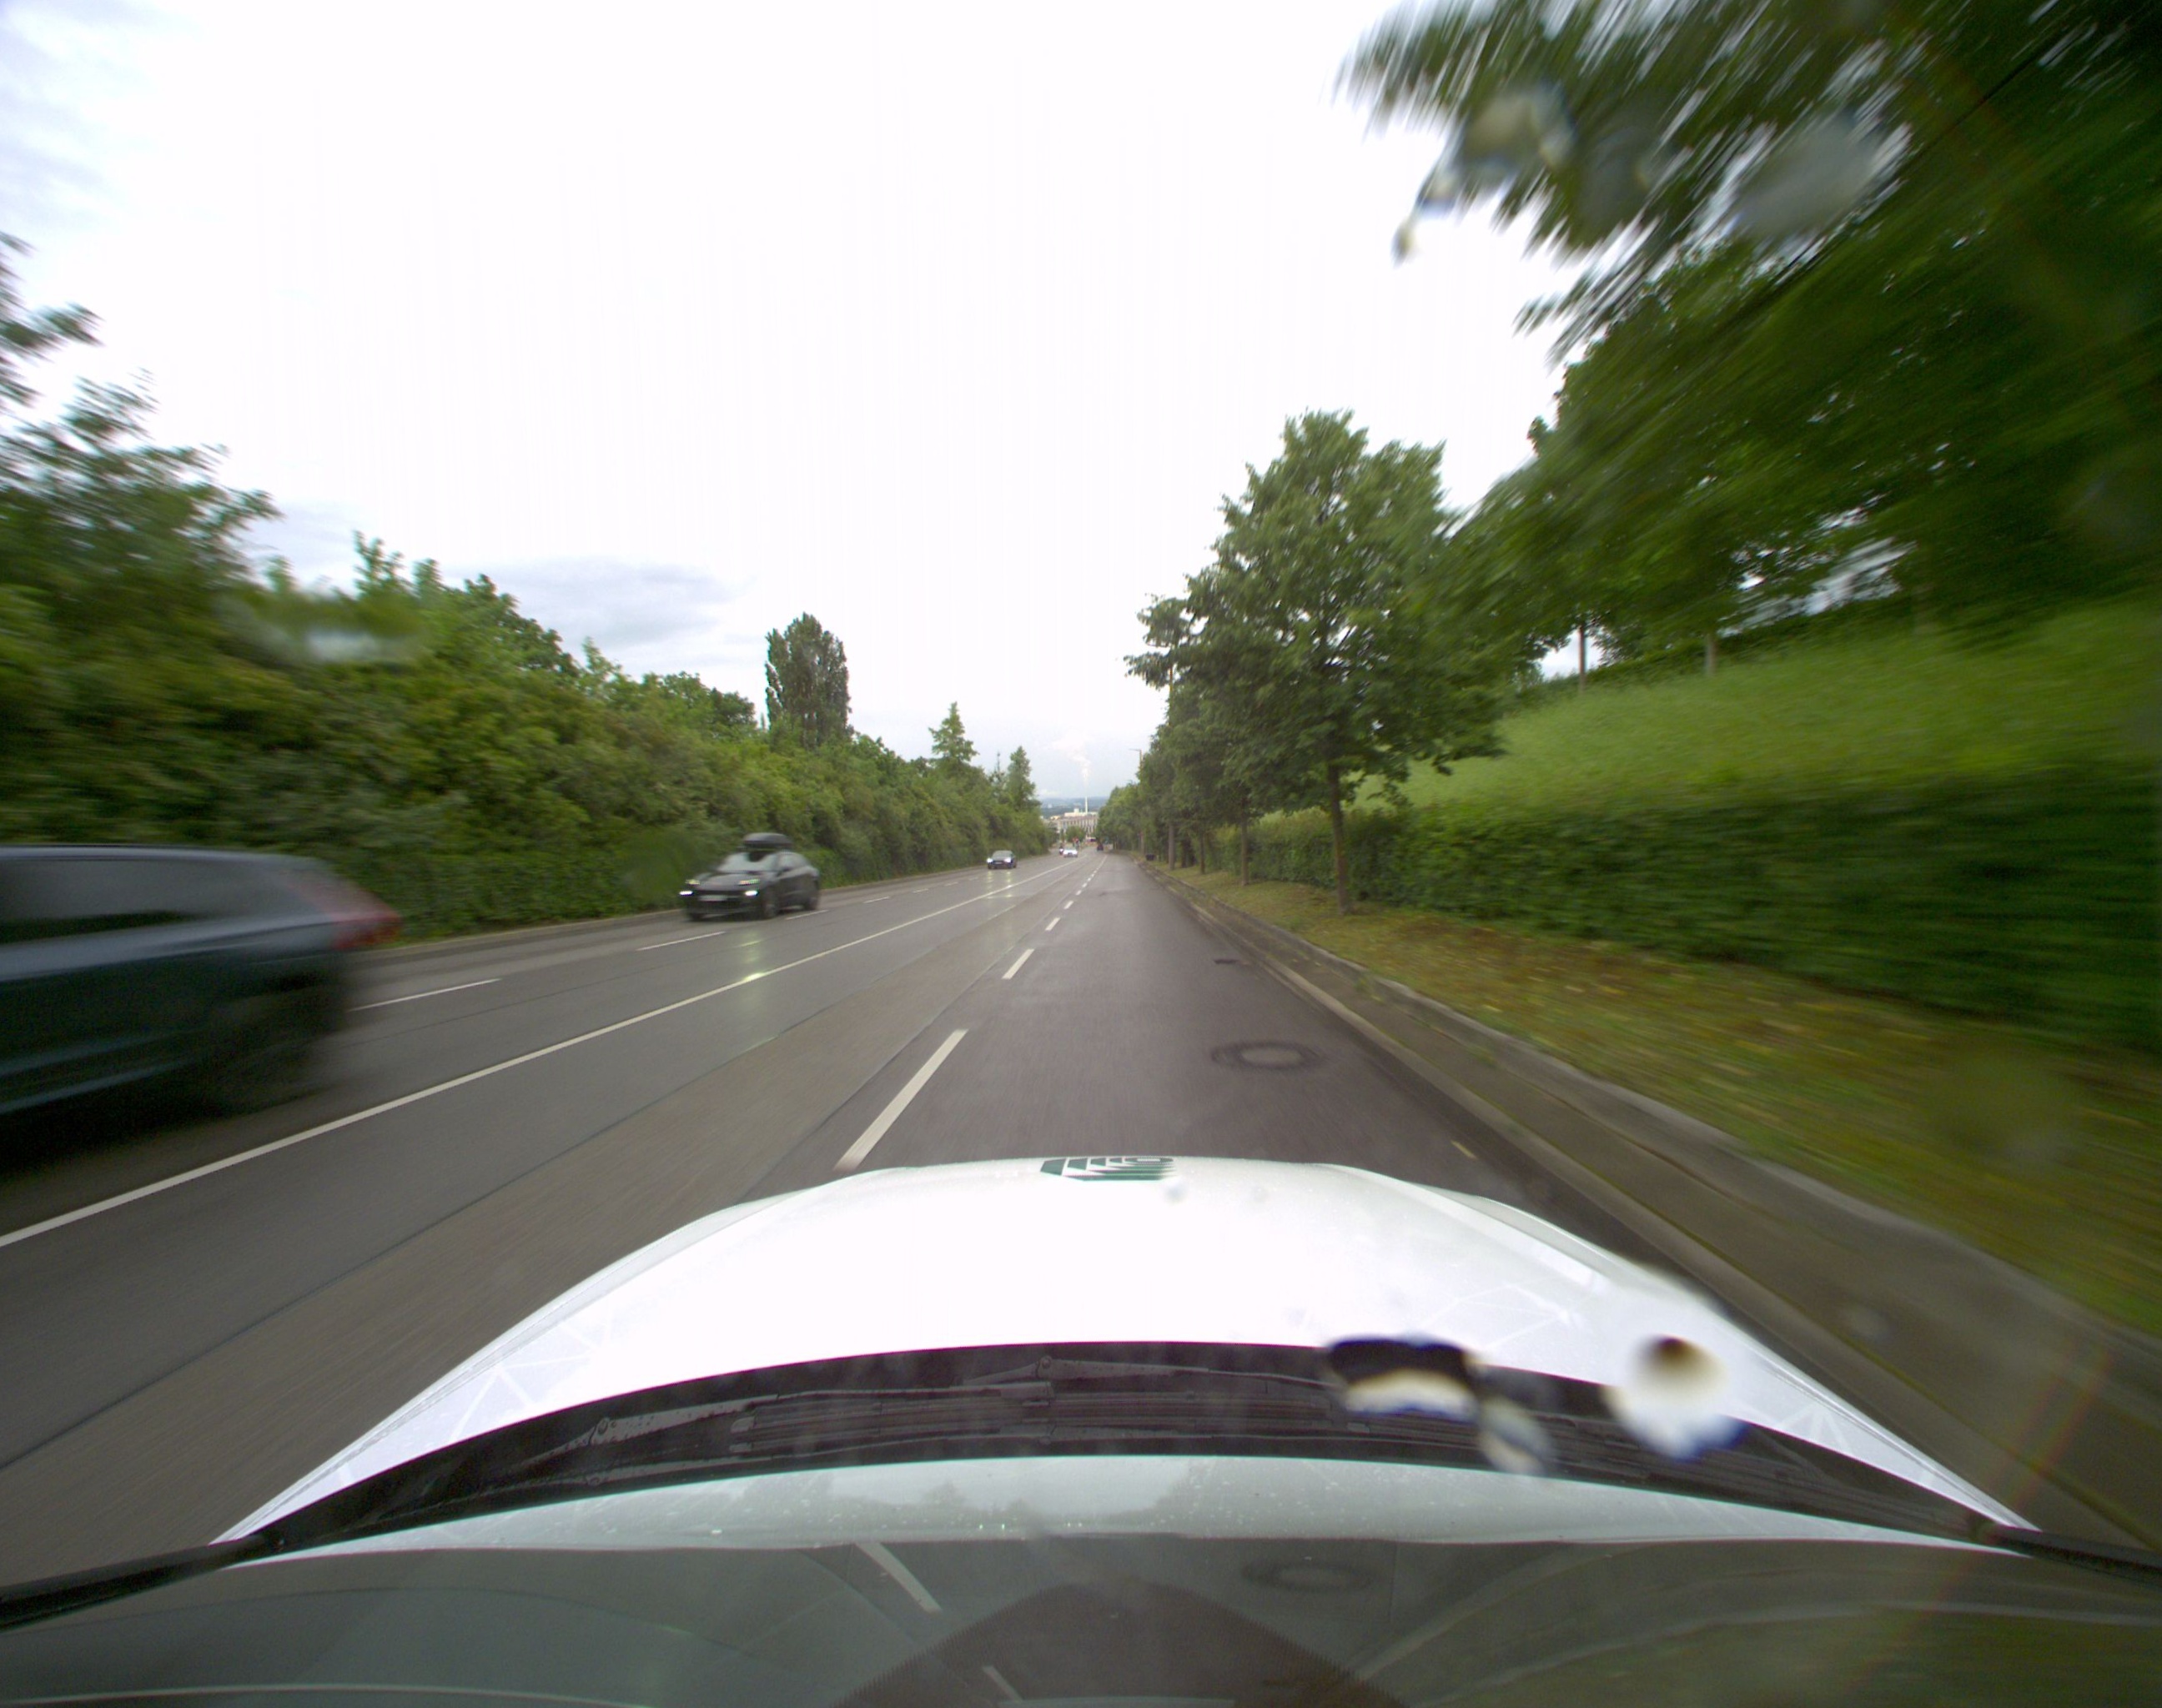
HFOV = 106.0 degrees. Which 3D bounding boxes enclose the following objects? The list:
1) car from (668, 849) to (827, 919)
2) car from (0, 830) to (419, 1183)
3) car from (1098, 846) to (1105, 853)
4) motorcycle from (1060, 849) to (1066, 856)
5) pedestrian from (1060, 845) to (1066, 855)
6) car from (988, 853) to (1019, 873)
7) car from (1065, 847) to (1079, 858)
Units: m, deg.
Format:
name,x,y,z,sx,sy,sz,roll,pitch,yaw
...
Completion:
name,x,y,z,sx,sy,sz,roll,pitch,yaw
car,-8.149,0.671,20.474,1.891,1.553,4.633,0,0,3
car,-5.989,0.725,3.877,1.805,1.657,4.597,-1,0,2
car,5.327,-1.264,213.268,1.843,1.702,3.793,0,-1,1
motorcycle,-3.009,-0.272,134.802,0.802,1.131,2.233,-1,0,2
pedestrian,-3.009,-0.631,134.809,0.802,1.541,1.112,-1,0,2
car,-6.066,0.669,63.894,1.753,1.381,4.841,0,1,2
car,-1.291,-0.233,115.569,1.708,1.505,4.520,0,0,3
